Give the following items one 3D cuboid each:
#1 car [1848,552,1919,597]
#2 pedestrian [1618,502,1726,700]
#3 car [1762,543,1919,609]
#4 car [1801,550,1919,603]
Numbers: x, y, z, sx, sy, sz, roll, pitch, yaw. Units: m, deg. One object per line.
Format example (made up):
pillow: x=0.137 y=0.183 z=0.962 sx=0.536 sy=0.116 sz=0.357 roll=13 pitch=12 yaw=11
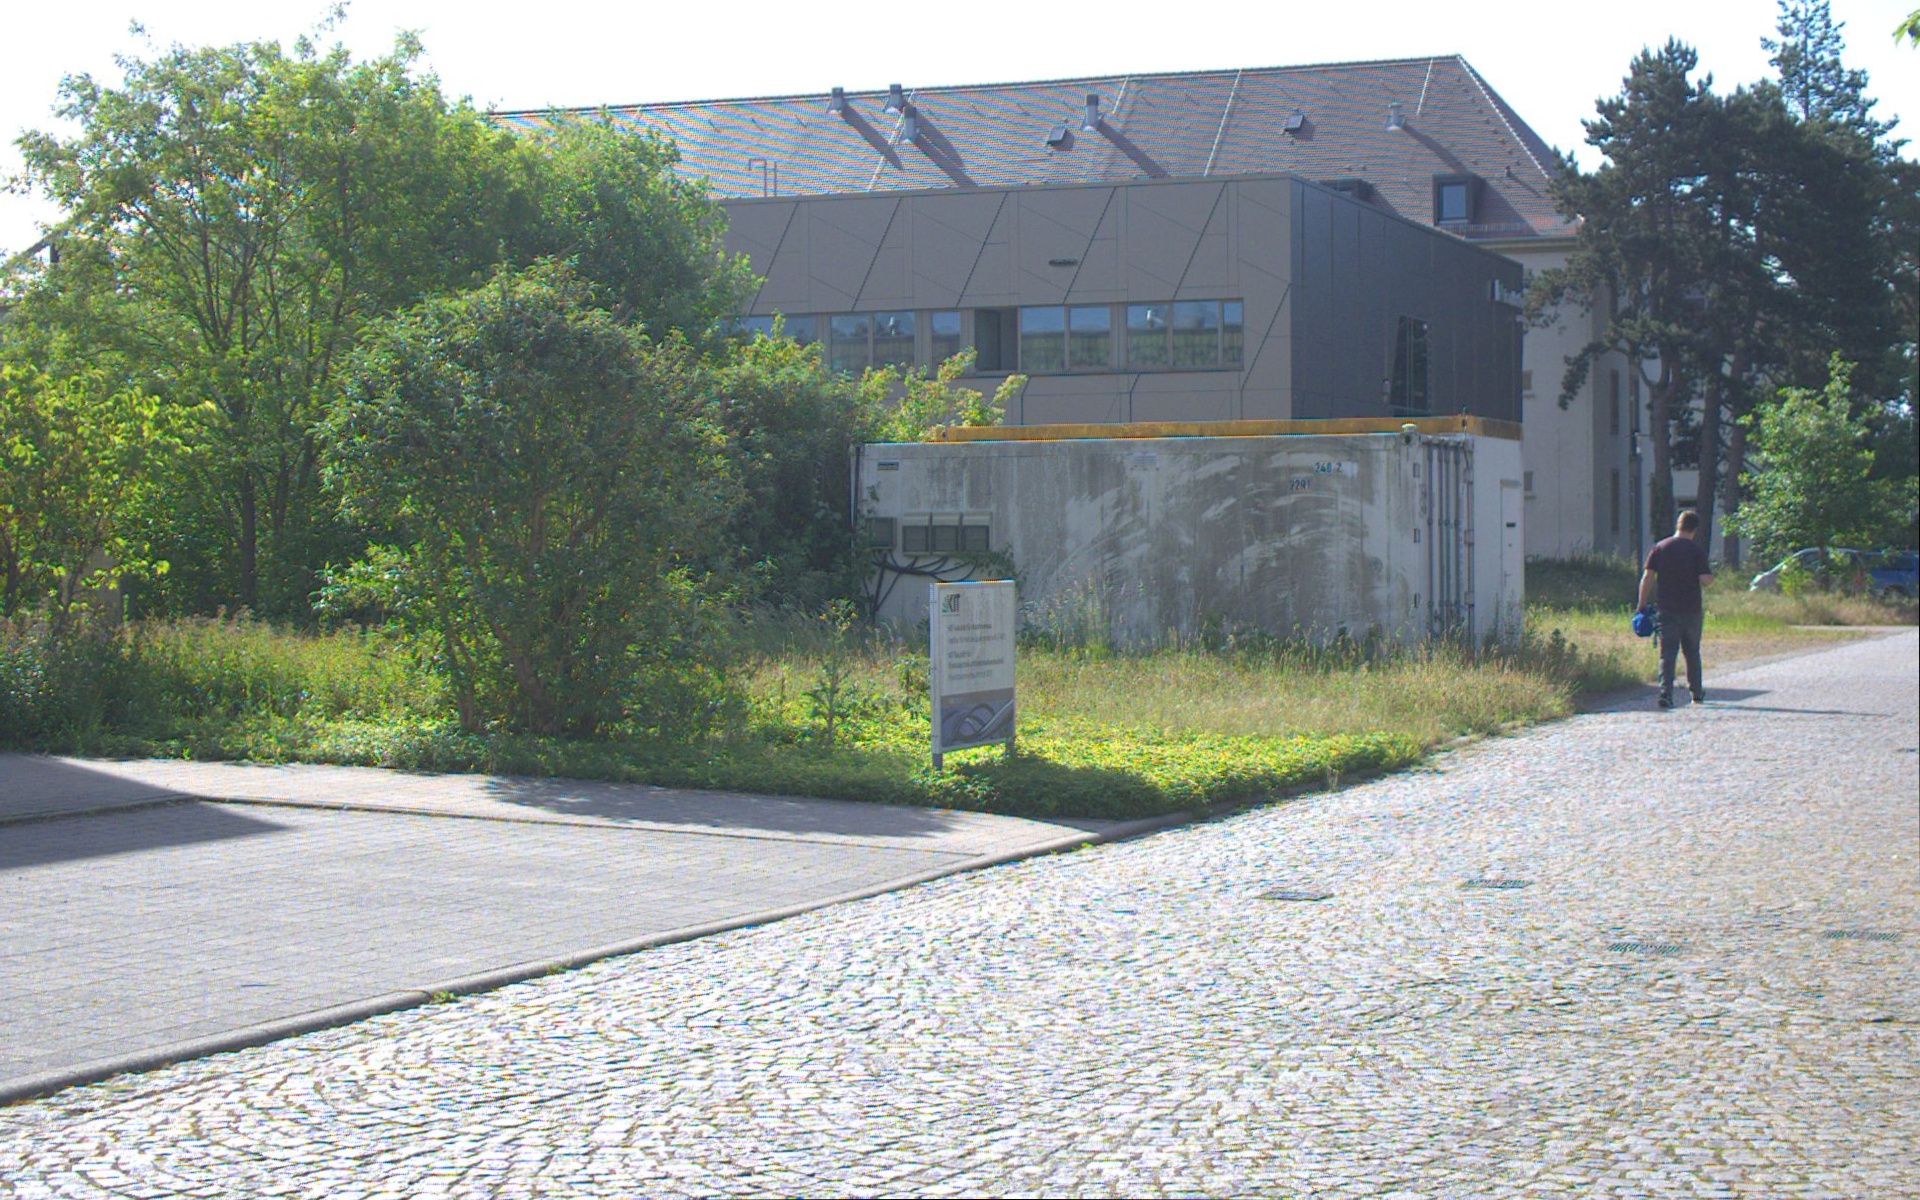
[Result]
car: x=25.204 y=-0.689 z=91.704 sx=2.855 sy=1.202 sz=1.373 roll=0 pitch=1 yaw=12
pedestrian: x=6.562 y=0.000 z=31.658 sx=0.795 sy=1.774 sz=1.067 roll=2 pitch=1 yaw=19
car: x=19.771 y=-0.529 z=75.984 sx=3.836 sy=1.436 sz=1.582 roll=0 pitch=1 yaw=18
car: x=21.798 y=-0.567 z=82.946 sx=2.904 sy=1.255 sz=1.287 roll=0 pitch=1 yaw=12
